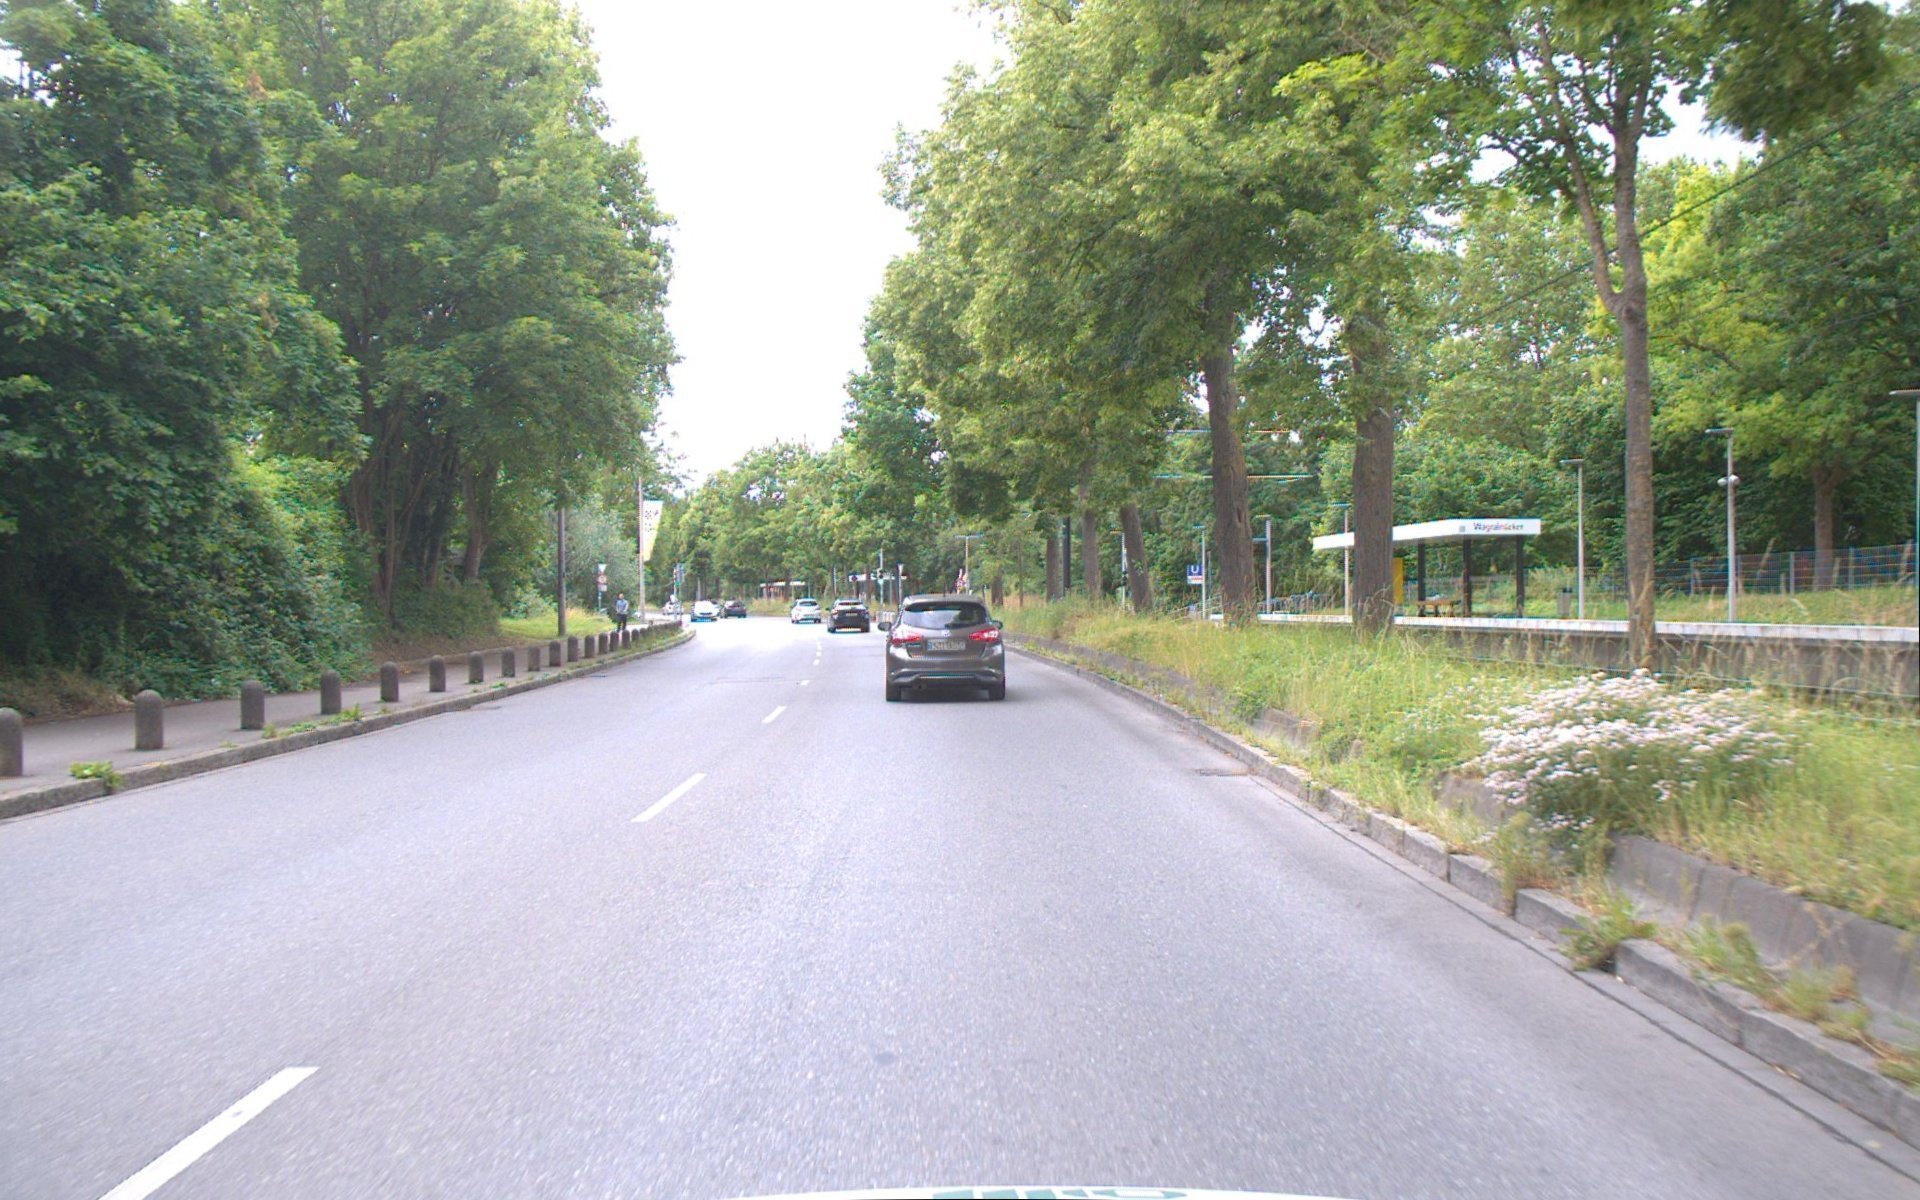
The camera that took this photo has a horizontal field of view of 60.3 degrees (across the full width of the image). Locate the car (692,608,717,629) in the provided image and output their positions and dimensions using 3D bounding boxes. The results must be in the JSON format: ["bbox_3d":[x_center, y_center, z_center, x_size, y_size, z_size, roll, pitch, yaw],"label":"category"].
[{"bbox_3d":[-19.492,1.381,126.320,1.740,1.464,4.354,-2,0,-7],"label":"car"}]

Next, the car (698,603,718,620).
[{"bbox_3d":[-23.832,1.089,156.513,1.743,1.498,3.993,0,0,-8],"label":"car"}]

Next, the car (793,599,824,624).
[{"bbox_3d":[-9.515,0.711,103.583,1.742,1.498,3.993,1,0,-8],"label":"car"}]

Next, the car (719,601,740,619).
[{"bbox_3d":[-19.614,0.859,140.492,1.743,1.498,3.992,1,0,-8],"label":"car"}]

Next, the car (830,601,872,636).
[{"bbox_3d":[-4.821,0.808,73.478,1.740,1.498,3.998,1,0,-3],"label":"car"}]

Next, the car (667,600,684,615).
[{"bbox_3d":[-30.684,0.789,178.287,1.743,1.498,3.991,1,0,-10],"label":"car"}]

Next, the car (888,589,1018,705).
[{"bbox_3d":[-0.147,0.645,25.150,1.779,1.534,3.999,-2,1,-2],"label":"car"}]

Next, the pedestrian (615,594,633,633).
[{"bbox_3d":[-14.780,0.592,72.699,0.676,1.663,0.837,1,0,-6],"label":"pedestrian"}]

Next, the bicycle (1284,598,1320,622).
[{"bbox_3d":[14.950,0.441,72.278,1.480,0.990,0.449,1,0,-9],"label":"bicycle"}]
